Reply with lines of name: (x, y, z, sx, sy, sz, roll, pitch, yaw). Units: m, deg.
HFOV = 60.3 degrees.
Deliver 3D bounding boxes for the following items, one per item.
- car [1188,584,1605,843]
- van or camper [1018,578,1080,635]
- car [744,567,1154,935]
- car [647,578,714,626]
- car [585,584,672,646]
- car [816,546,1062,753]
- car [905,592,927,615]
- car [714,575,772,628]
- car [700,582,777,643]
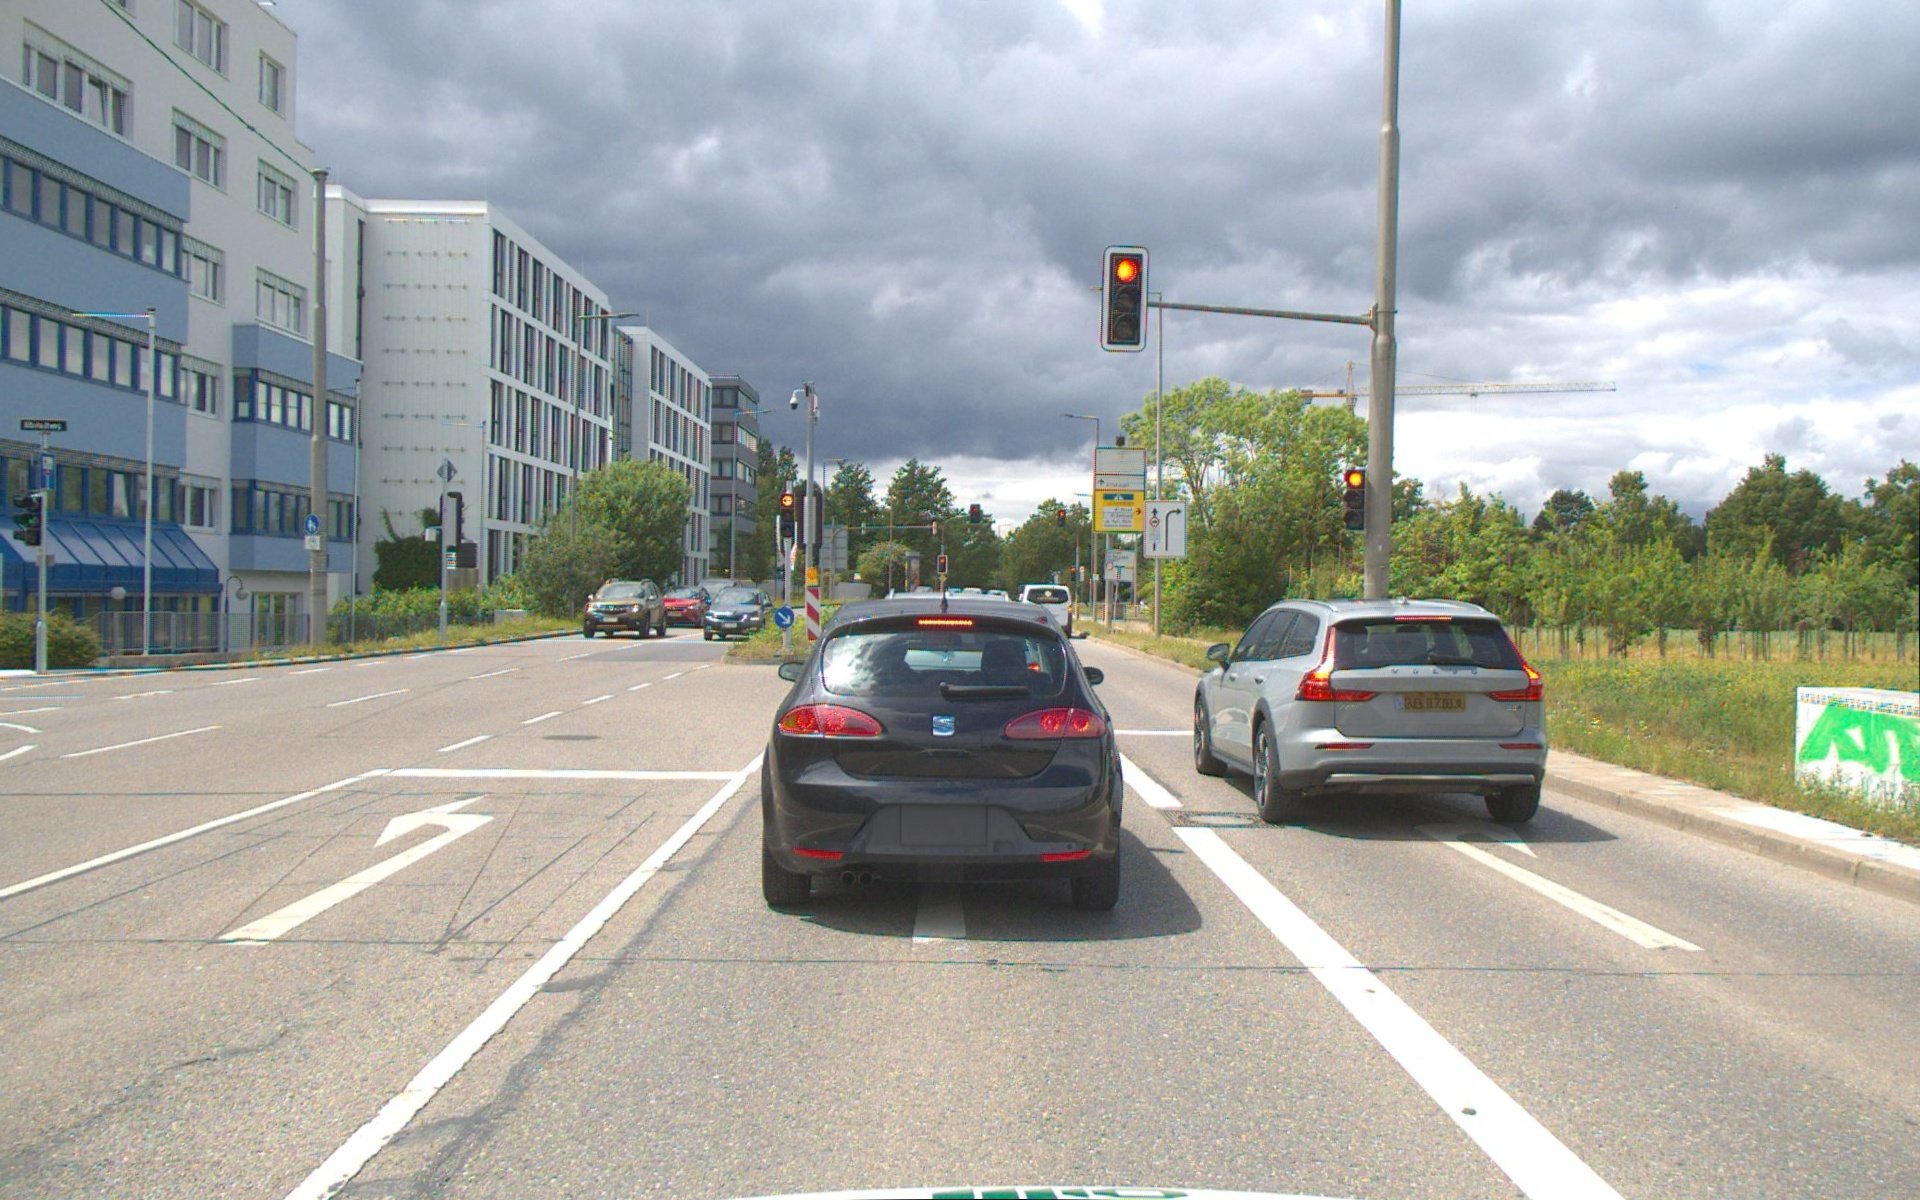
car: (2.979, 0.709, 12.317, 1.918, 1.552, 4.339, -1, 0, 0)
van or camper: (3.204, 0.238, 60.070, 1.861, 1.959, 3.998, 0, 0, -2)
car: (0.039, 0.651, 9.065, 1.711, 1.510, 4.001, 2, 0, 2)
car: (-9.795, 0.073, 58.165, 1.740, 1.640, 3.999, 0, 0, -1)
car: (-9.464, 0.408, 47.436, 1.715, 1.659, 3.999, -1, 0, -1)
car: (-0.185, 0.396, 15.333, 1.943, 1.618, 4.225, 1, 0, -1)
car: (-4.055, 0.319, 151.815, 1.953, 2.049, 3.999, 0, 0, -1)
car: (-8.690, 0.064, 66.500, 1.954, 2.049, 4.478, 0, 0, -3)
car: (-6.211, 0.323, 46.685, 1.635, 1.551, 4.008, -2, 2, -1)
